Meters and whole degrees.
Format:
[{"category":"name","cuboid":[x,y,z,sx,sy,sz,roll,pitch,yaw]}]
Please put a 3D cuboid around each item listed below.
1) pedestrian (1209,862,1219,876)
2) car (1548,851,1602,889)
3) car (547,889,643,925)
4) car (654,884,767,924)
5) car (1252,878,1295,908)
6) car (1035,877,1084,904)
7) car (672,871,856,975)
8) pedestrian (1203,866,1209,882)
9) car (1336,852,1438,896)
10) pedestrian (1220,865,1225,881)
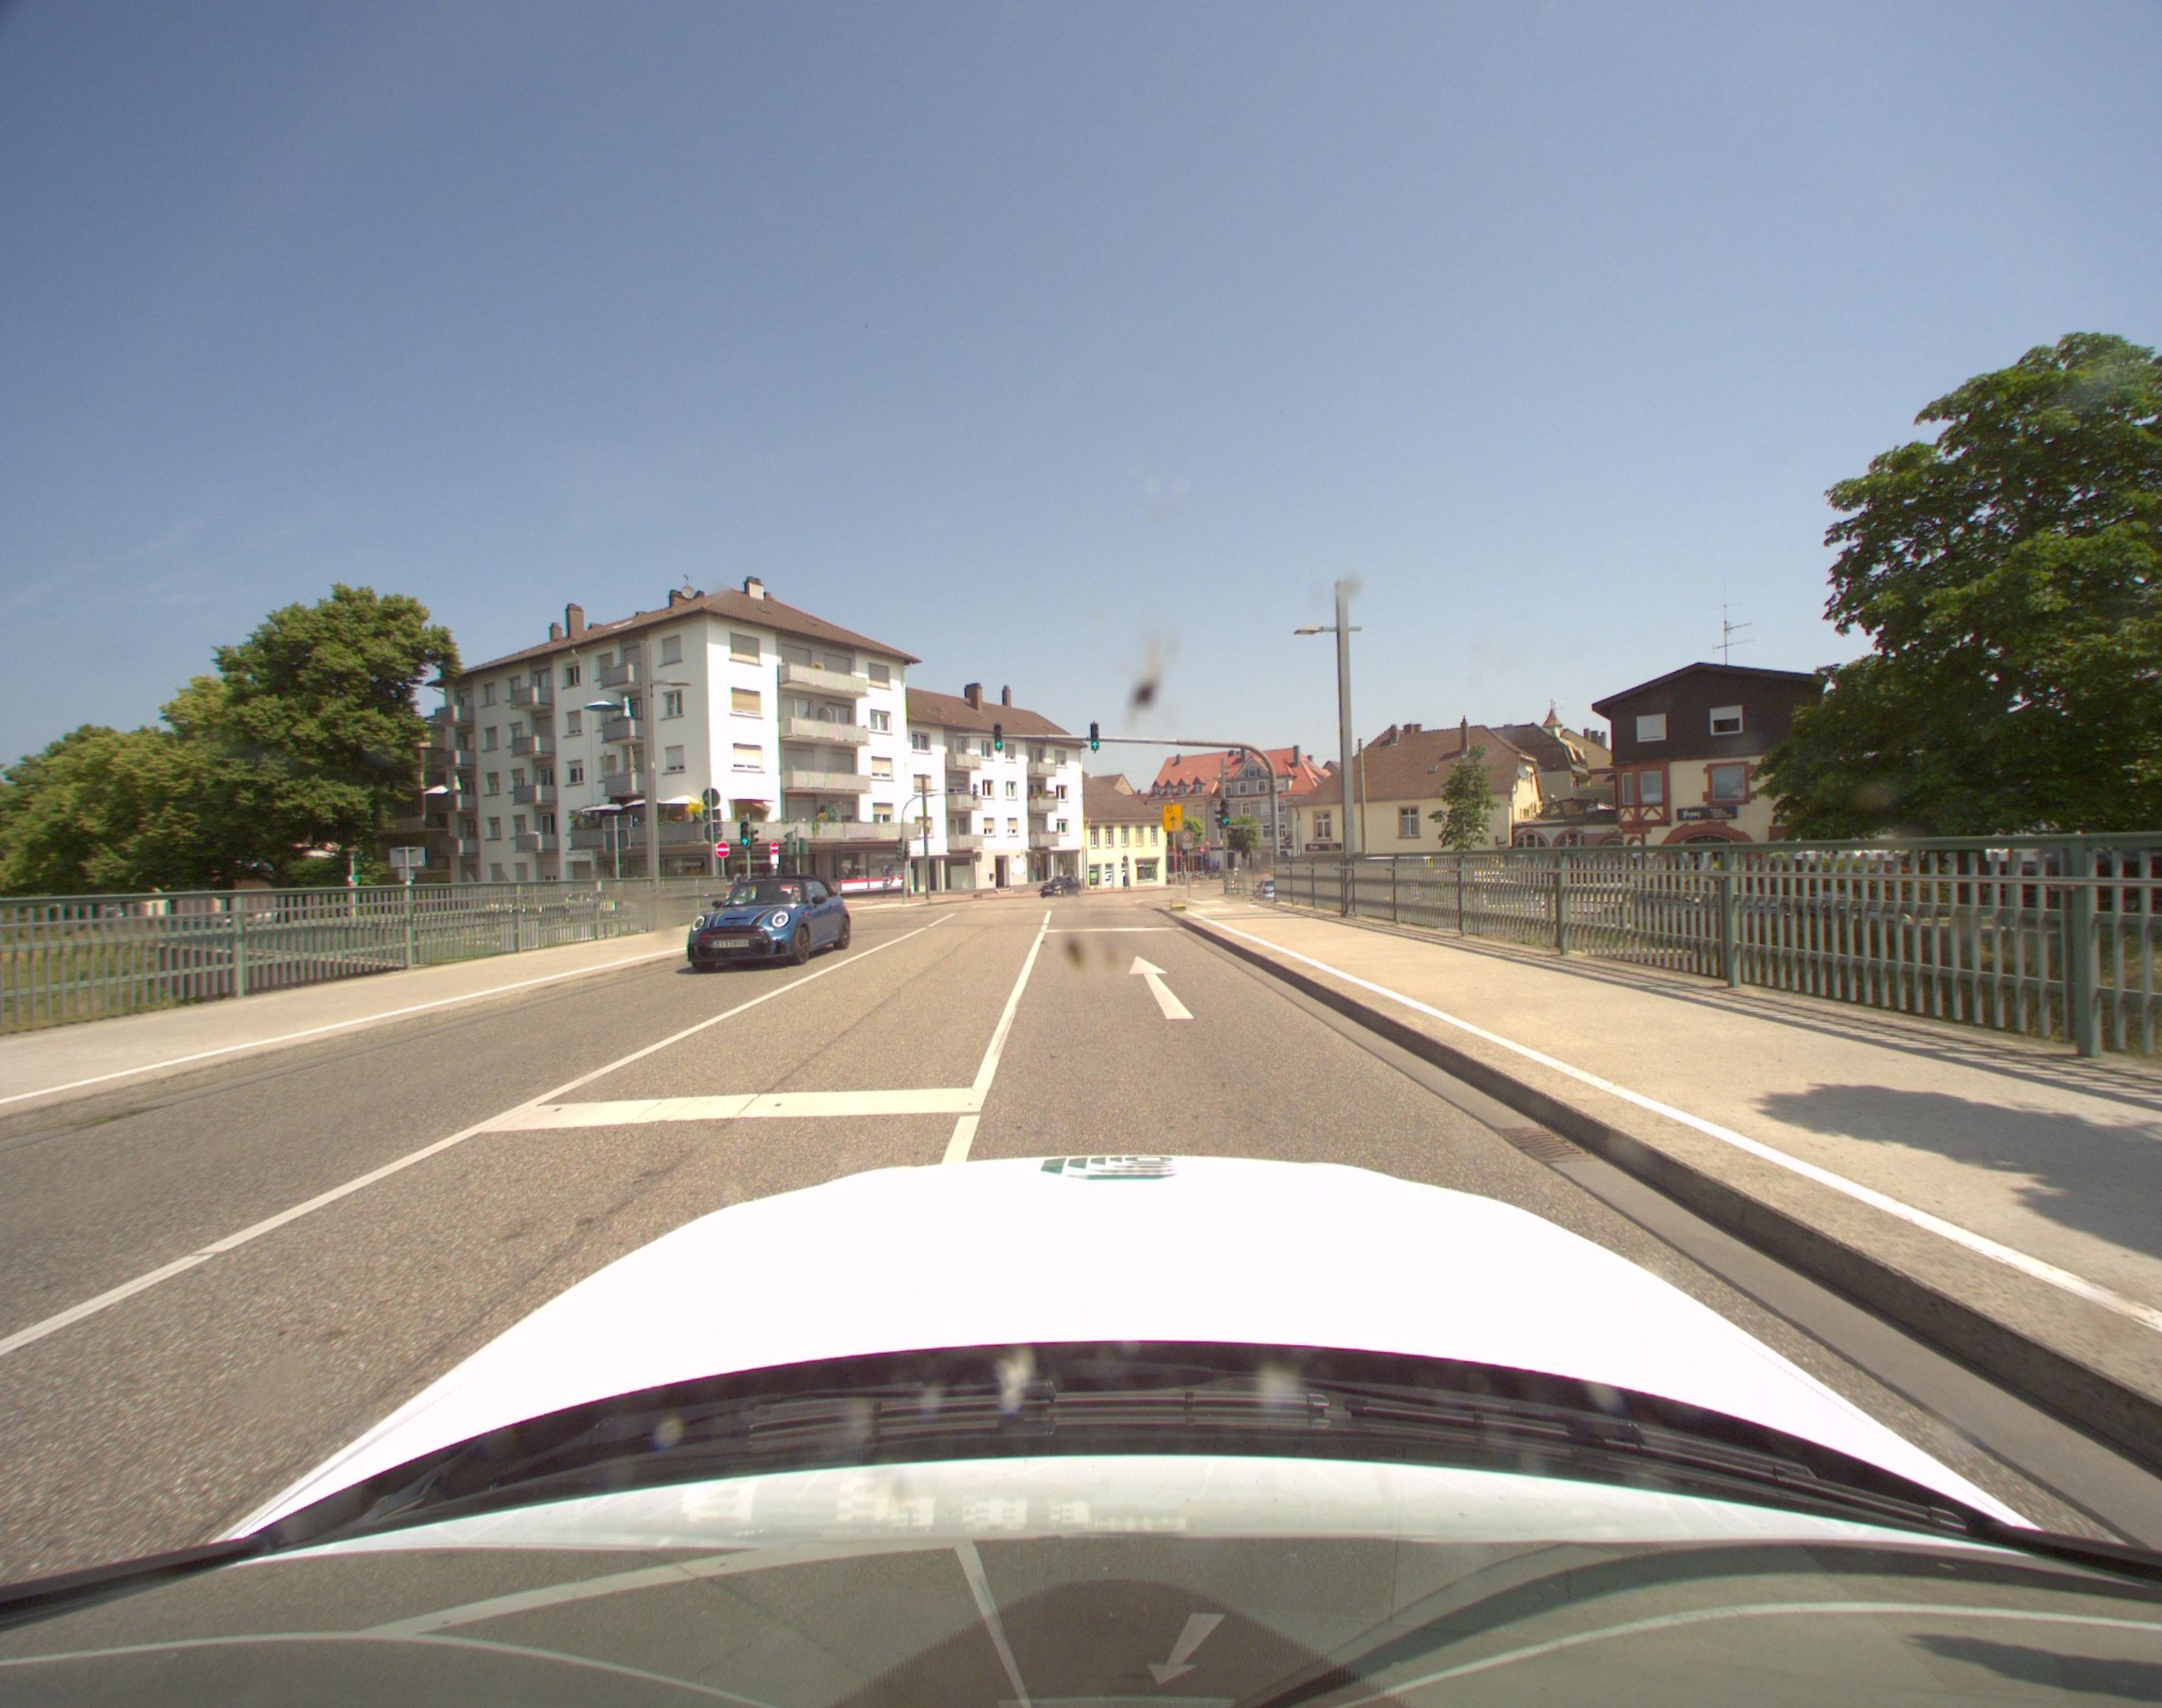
[{"category":"pedestrian","cuboid":[19.550,2.215,119.620,1.020,1.980,1.027,0,0,34]},{"category":"car","cuboid":[28.061,0.878,46.230,4.023,2.013,1.641,-1,0,-44]},{"category":"car","cuboid":[-22.426,2.432,37.535,4.329,1.420,1.712,-3,0,27]},{"category":"car","cuboid":[-15.931,2.146,35.035,4.336,1.420,1.710,-3,0,17]},{"category":"car","cuboid":[10.322,2.056,43.904,1.742,1.471,4.260,0,-1,6]},{"category":"car","cuboid":[-1.339,2.336,52.696,1.662,1.488,3.975,-4,-2,21]},{"category":"car","cuboid":[-5.219,1.060,13.943,1.652,1.440,3.753,-3,-1,-1]},{"category":"pedestrian","cuboid":[15.731,2.472,102.471,0.763,2.013,0.564,0,0,12]},{"category":"car","cuboid":[19.222,1.246,51.216,5.560,2.628,2.256,-1,0,33]},{"category":"pedestrian","cuboid":[17.860,2.428,102.846,0.606,2.013,0.556,0,0,12]}]
